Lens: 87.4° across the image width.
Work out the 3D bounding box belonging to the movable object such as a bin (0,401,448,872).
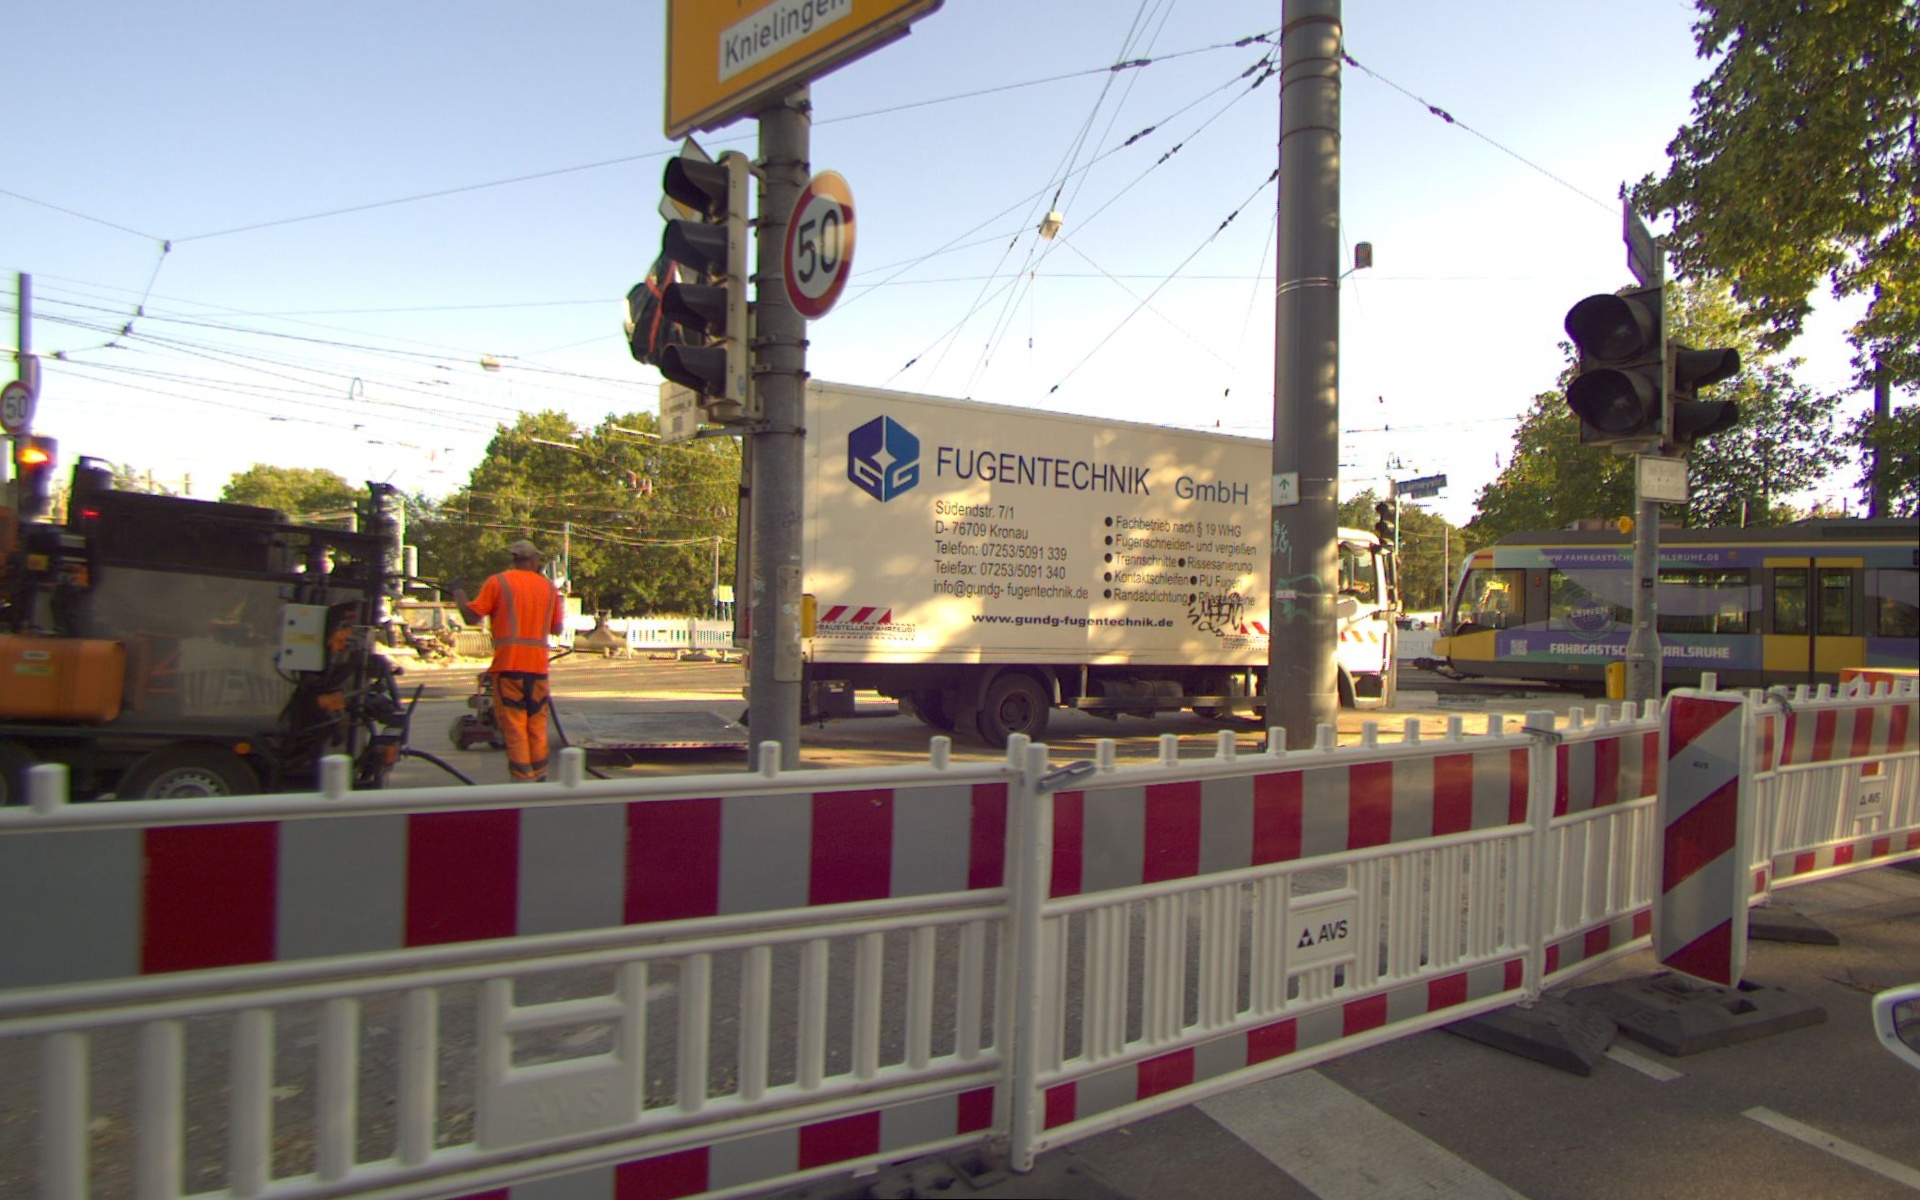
[{"bbox_3d":[-5.720,0.152,5.458,5.138,2.287,1.987,1,1,-26],"label":"movable object such as a bin"}]

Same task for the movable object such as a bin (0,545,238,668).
[{"bbox_3d":[-20.330,0.178,24.053,2.125,2.674,4.578,0,-1,39],"label":"movable object such as a bin"}]

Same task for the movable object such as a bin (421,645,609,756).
[{"bbox_3d":[-4.297,0.929,9.749,0.921,0.929,1.413,0,-1,40],"label":"movable object such as a bin"}]

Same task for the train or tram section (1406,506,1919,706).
[{"bbox_3d":[16.118,0.119,20.022,13.139,3.580,2.857,1,-1,24],"label":"train or tram section"}]

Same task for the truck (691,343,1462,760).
[{"bbox_3d":[1.596,-0.357,11.794,8.860,3.588,2.804,1,0,-25],"label":"truck"}]

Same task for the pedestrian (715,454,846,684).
[{"bbox_3d":[-1.717,-0.282,9.557,0.988,2.041,0.933,-1,1,-27],"label":"pedestrian"}]

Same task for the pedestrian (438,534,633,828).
[{"bbox_3d":[-2.941,0.507,6.933,1.059,1.822,0.966,1,0,-35],"label":"pedestrian"}]
